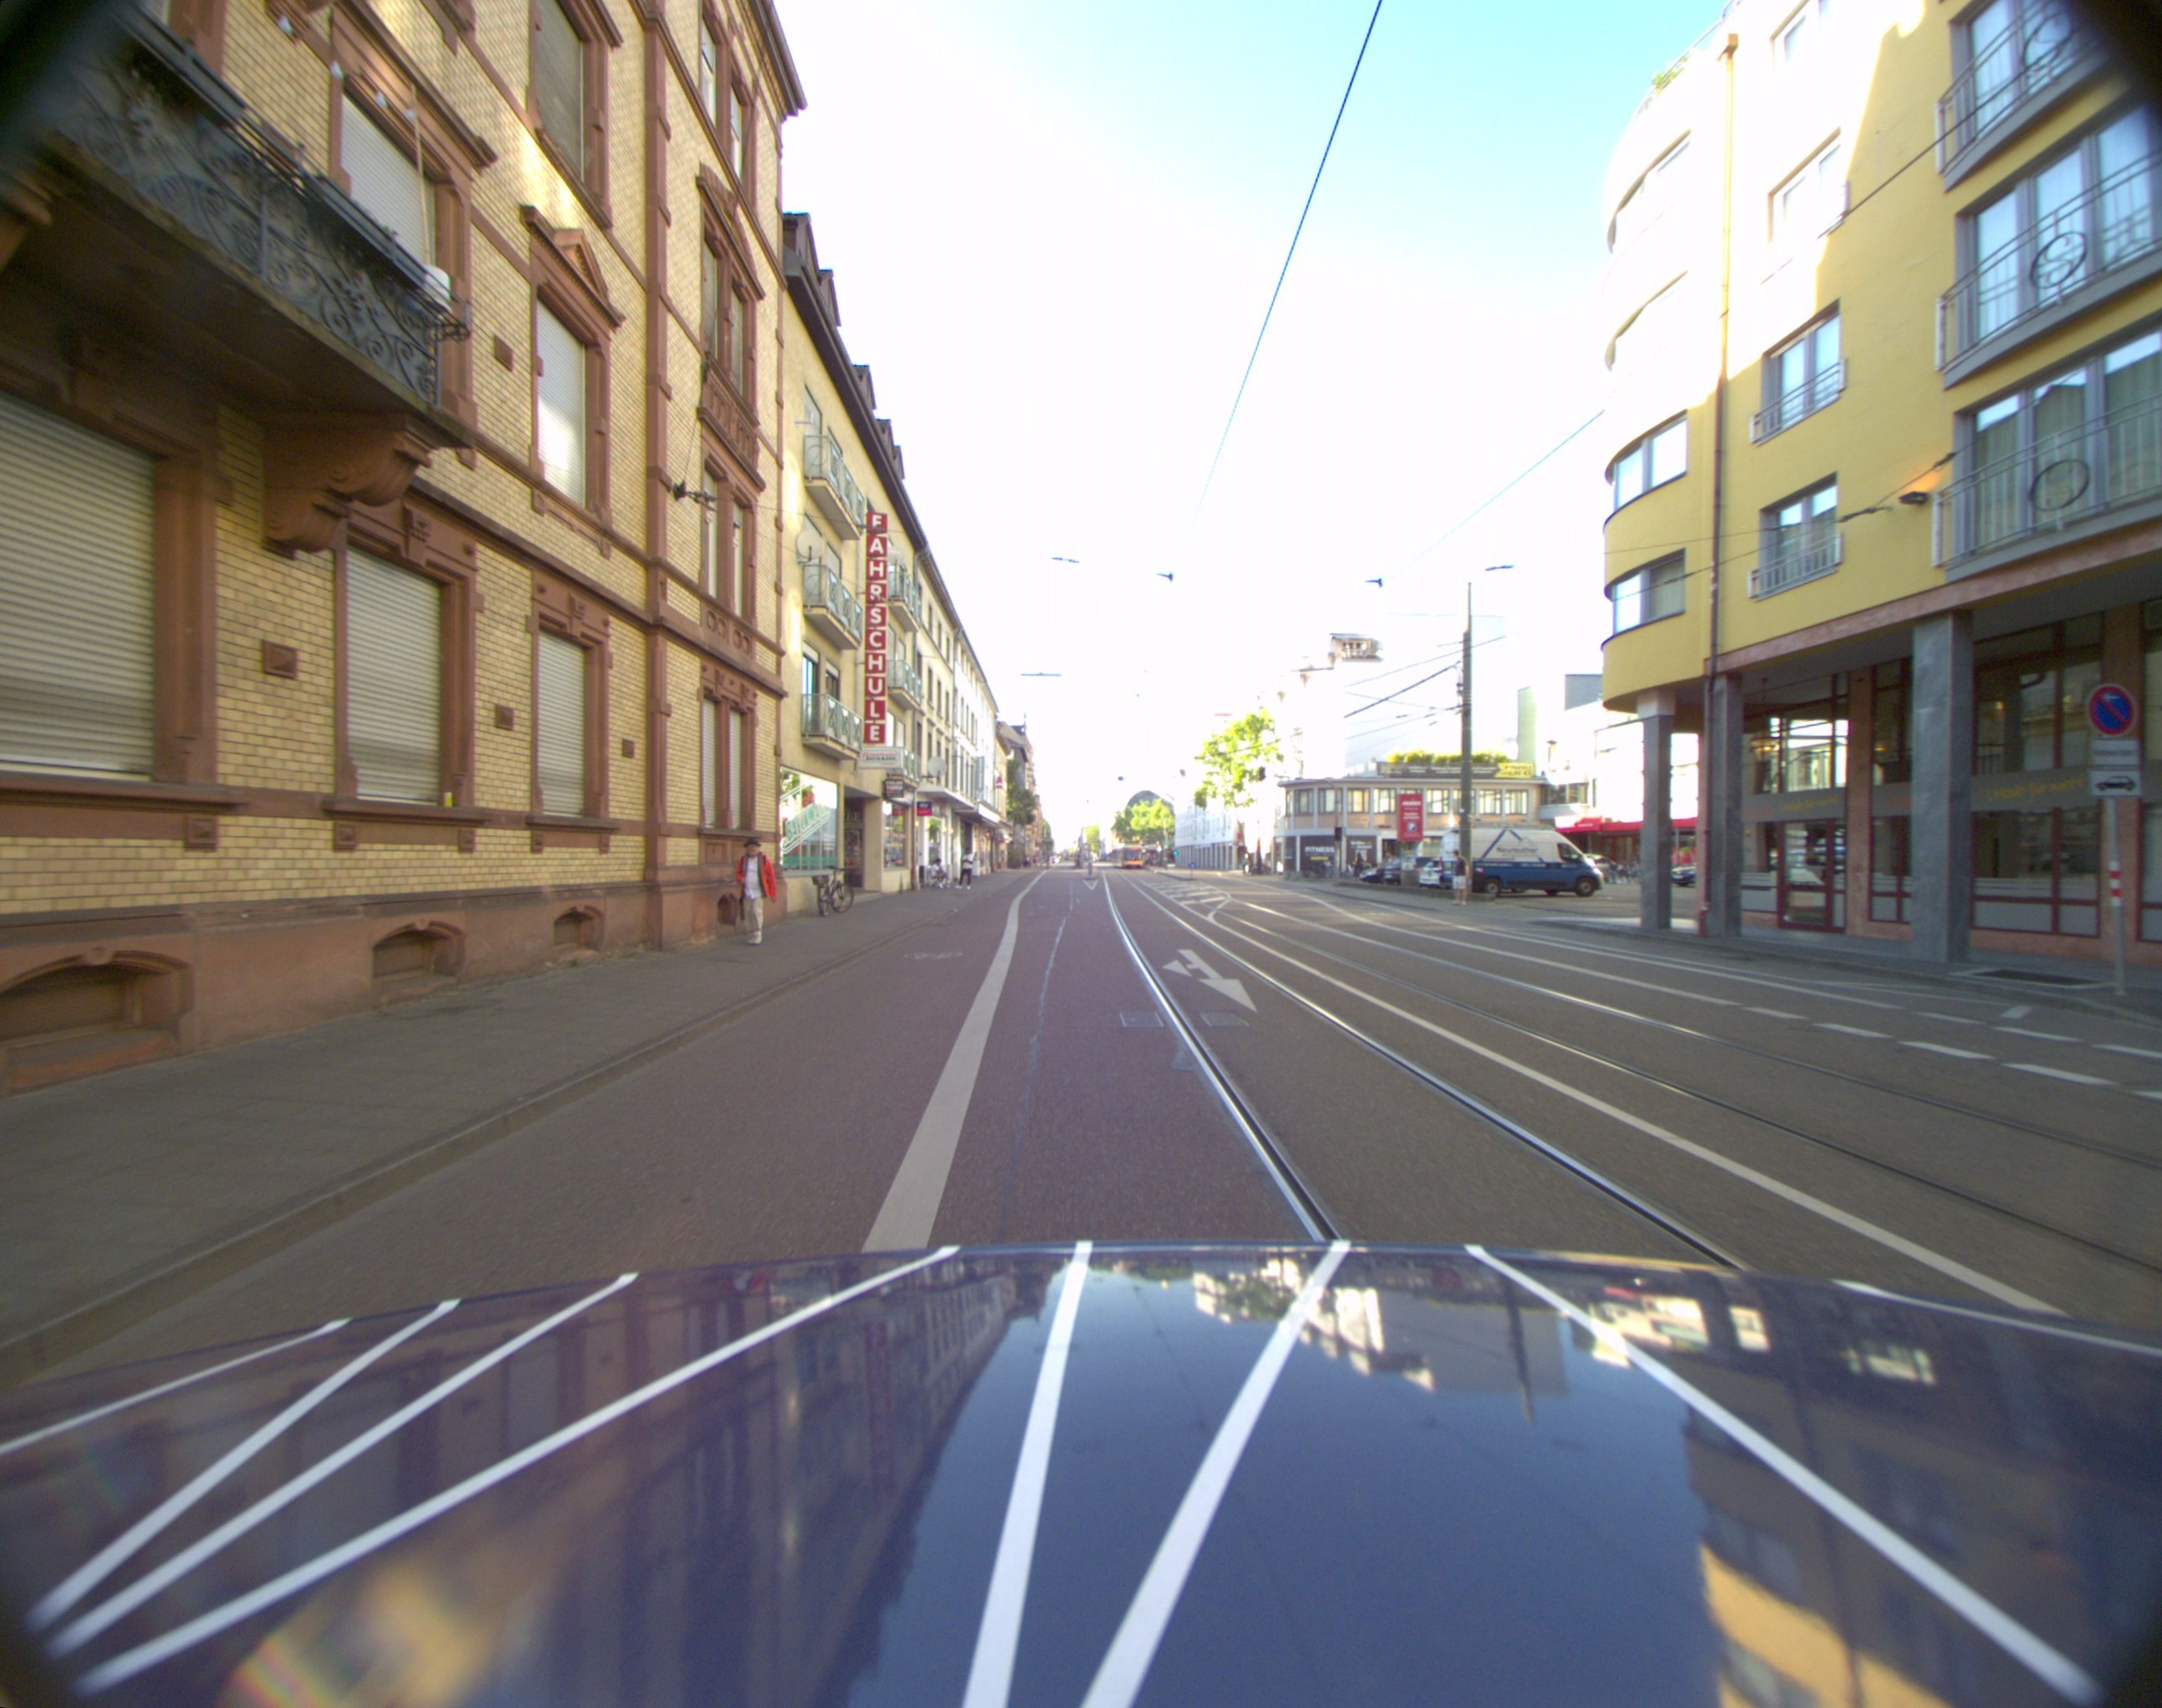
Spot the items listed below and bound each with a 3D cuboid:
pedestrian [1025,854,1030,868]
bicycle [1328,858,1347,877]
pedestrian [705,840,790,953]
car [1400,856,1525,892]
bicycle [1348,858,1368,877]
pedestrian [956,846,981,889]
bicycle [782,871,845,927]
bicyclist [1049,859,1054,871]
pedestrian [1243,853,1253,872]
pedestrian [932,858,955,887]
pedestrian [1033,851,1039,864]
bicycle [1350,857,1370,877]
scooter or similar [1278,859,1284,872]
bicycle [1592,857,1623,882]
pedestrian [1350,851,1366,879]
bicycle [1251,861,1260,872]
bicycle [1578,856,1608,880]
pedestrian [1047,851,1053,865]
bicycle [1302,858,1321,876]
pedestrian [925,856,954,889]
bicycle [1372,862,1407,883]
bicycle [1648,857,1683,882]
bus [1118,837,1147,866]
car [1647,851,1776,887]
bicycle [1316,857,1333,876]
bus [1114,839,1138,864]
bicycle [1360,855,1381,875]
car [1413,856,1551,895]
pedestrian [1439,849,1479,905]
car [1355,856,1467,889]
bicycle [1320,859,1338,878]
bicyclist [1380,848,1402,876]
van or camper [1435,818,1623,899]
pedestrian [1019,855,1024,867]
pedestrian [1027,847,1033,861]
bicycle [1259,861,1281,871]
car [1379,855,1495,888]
[{"bbox_3d":[-6.687,0.873,95.005,0.651,1.706,0.805,0,1,-8],"label":"pedestrian"},{"bbox_3d":[16.200,0.871,48.062,0.444,1.180,1.831,1,0,-4],"label":"bicycle"},{"bbox_3d":[-5.166,0.649,11.816,0.800,1.618,0.826,6,-1,0],"label":"pedestrian"},{"bbox_3d":[16.753,0.867,33.518,4.600,1.466,1.879,1,0,-1],"label":"car"},{"bbox_3d":[16.883,0.820,46.387,0.449,1.180,1.831,1,0,-4],"label":"bicycle"},{"bbox_3d":[-4.945,0.587,33.467,0.705,1.801,0.680,6,0,14],"label":"pedestrian"},{"bbox_3d":[-5.817,0.942,16.657,0.556,1.055,2.310,3,0,-1],"label":"bicycle"},{"bbox_3d":[-4.247,1.558,107.989,0.677,1.604,0.837,0,1,-3],"label":"bicyclist"},{"bbox_3d":[15.029,0.726,68.318,0.630,1.706,0.826,1,1,26],"label":"pedestrian"},{"bbox_3d":[-5.956,0.790,32.908,0.708,1.168,1.014,6,0,-20],"label":"pedestrian"},{"bbox_3d":[-6.100,0.461,102.931,0.807,1.789,0.761,0,1,-1],"label":"pedestrian"},{"bbox_3d":[17.282,0.807,47.155,0.449,1.180,1.831,1,0,-4],"label":"bicycle"},{"bbox_3d":[17.197,0.971,65.441,0.335,1.105,1.182,1,1,22],"label":"scooter or similar"},{"bbox_3d":[26.346,0.770,38.040,0.432,1.180,1.832,1,0,6],"label":"bicycle"},{"bbox_3d":[16.928,0.656,46.487,0.683,1.687,0.683,1,0,-3],"label":"pedestrian"},{"bbox_3d":[15.438,1.092,67.241,0.389,0.907,1.851,-1,0,0],"label":"bicycle"},{"bbox_3d":[25.796,0.717,38.321,0.432,1.180,1.832,1,0,6],"label":"bicycle"},{"bbox_3d":[-4.102,0.504,99.453,0.694,1.760,0.697,1,1,4],"label":"pedestrian"},{"bbox_3d":[14.826,0.833,48.840,0.447,1.180,1.830,1,0,-7],"label":"bicycle"},{"bbox_3d":[-5.924,0.767,31.856,0.833,1.248,0.705,6,0,-36],"label":"pedestrian"},{"bbox_3d":[17.518,1.055,43.173,1.833,1.164,0.682,1,1,-18],"label":"bicycle"},{"bbox_3d":[28.426,0.739,36.973,0.432,1.181,1.832,1,1,6],"label":"bicycle"},{"bbox_3d":[6.716,-0.312,101.117,2.818,3.546,13.677,0,0,0],"label":"bus"},{"bbox_3d":[27.233,0.650,32.929,3.998,1.499,1.999,0,0,-3],"label":"car"},{"bbox_3d":[15.360,0.794,47.985,0.441,1.180,1.831,1,0,-2],"label":"bicycle"},{"bbox_3d":[6.725,-0.353,114.510,2.818,3.546,13.677,0,0,0],"label":"bus"},{"bbox_3d":[17.994,0.679,47.280,0.449,1.180,1.831,1,0,-4],"label":"bicycle"},{"bbox_3d":[16.224,0.863,30.878,4.600,1.466,1.879,1,0,-1],"label":"car"},{"bbox_3d":[12.491,0.749,25.121,0.835,1.821,0.909,1,0,-1],"label":"pedestrian"},{"bbox_3d":[16.710,0.910,38.648,4.907,1.574,1.879,1,0,-1],"label":"car"},{"bbox_3d":[15.753,0.881,48.249,0.449,1.180,1.831,1,0,-4],"label":"bicycle"},{"bbox_3d":[17.621,0.441,43.186,0.838,1.541,0.690,1,1,-18],"label":"bicyclist"},{"bbox_3d":[16.558,0.165,28.295,5.620,2.810,2.315,1,0,0],"label":"van or camper"},{"bbox_3d":[-7.405,0.880,94.786,0.651,1.569,0.682,0,1,-8],"label":"pedestrian"},{"bbox_3d":[-6.510,0.055,96.974,0.650,1.760,0.697,1,1,4],"label":"pedestrian"},{"bbox_3d":[16.629,1.067,66.944,1.849,0.906,0.390,-1,-2,4],"label":"bicycle"},{"bbox_3d":[16.787,0.803,36.008,4.600,1.466,1.879,1,0,-1],"label":"car"}]
